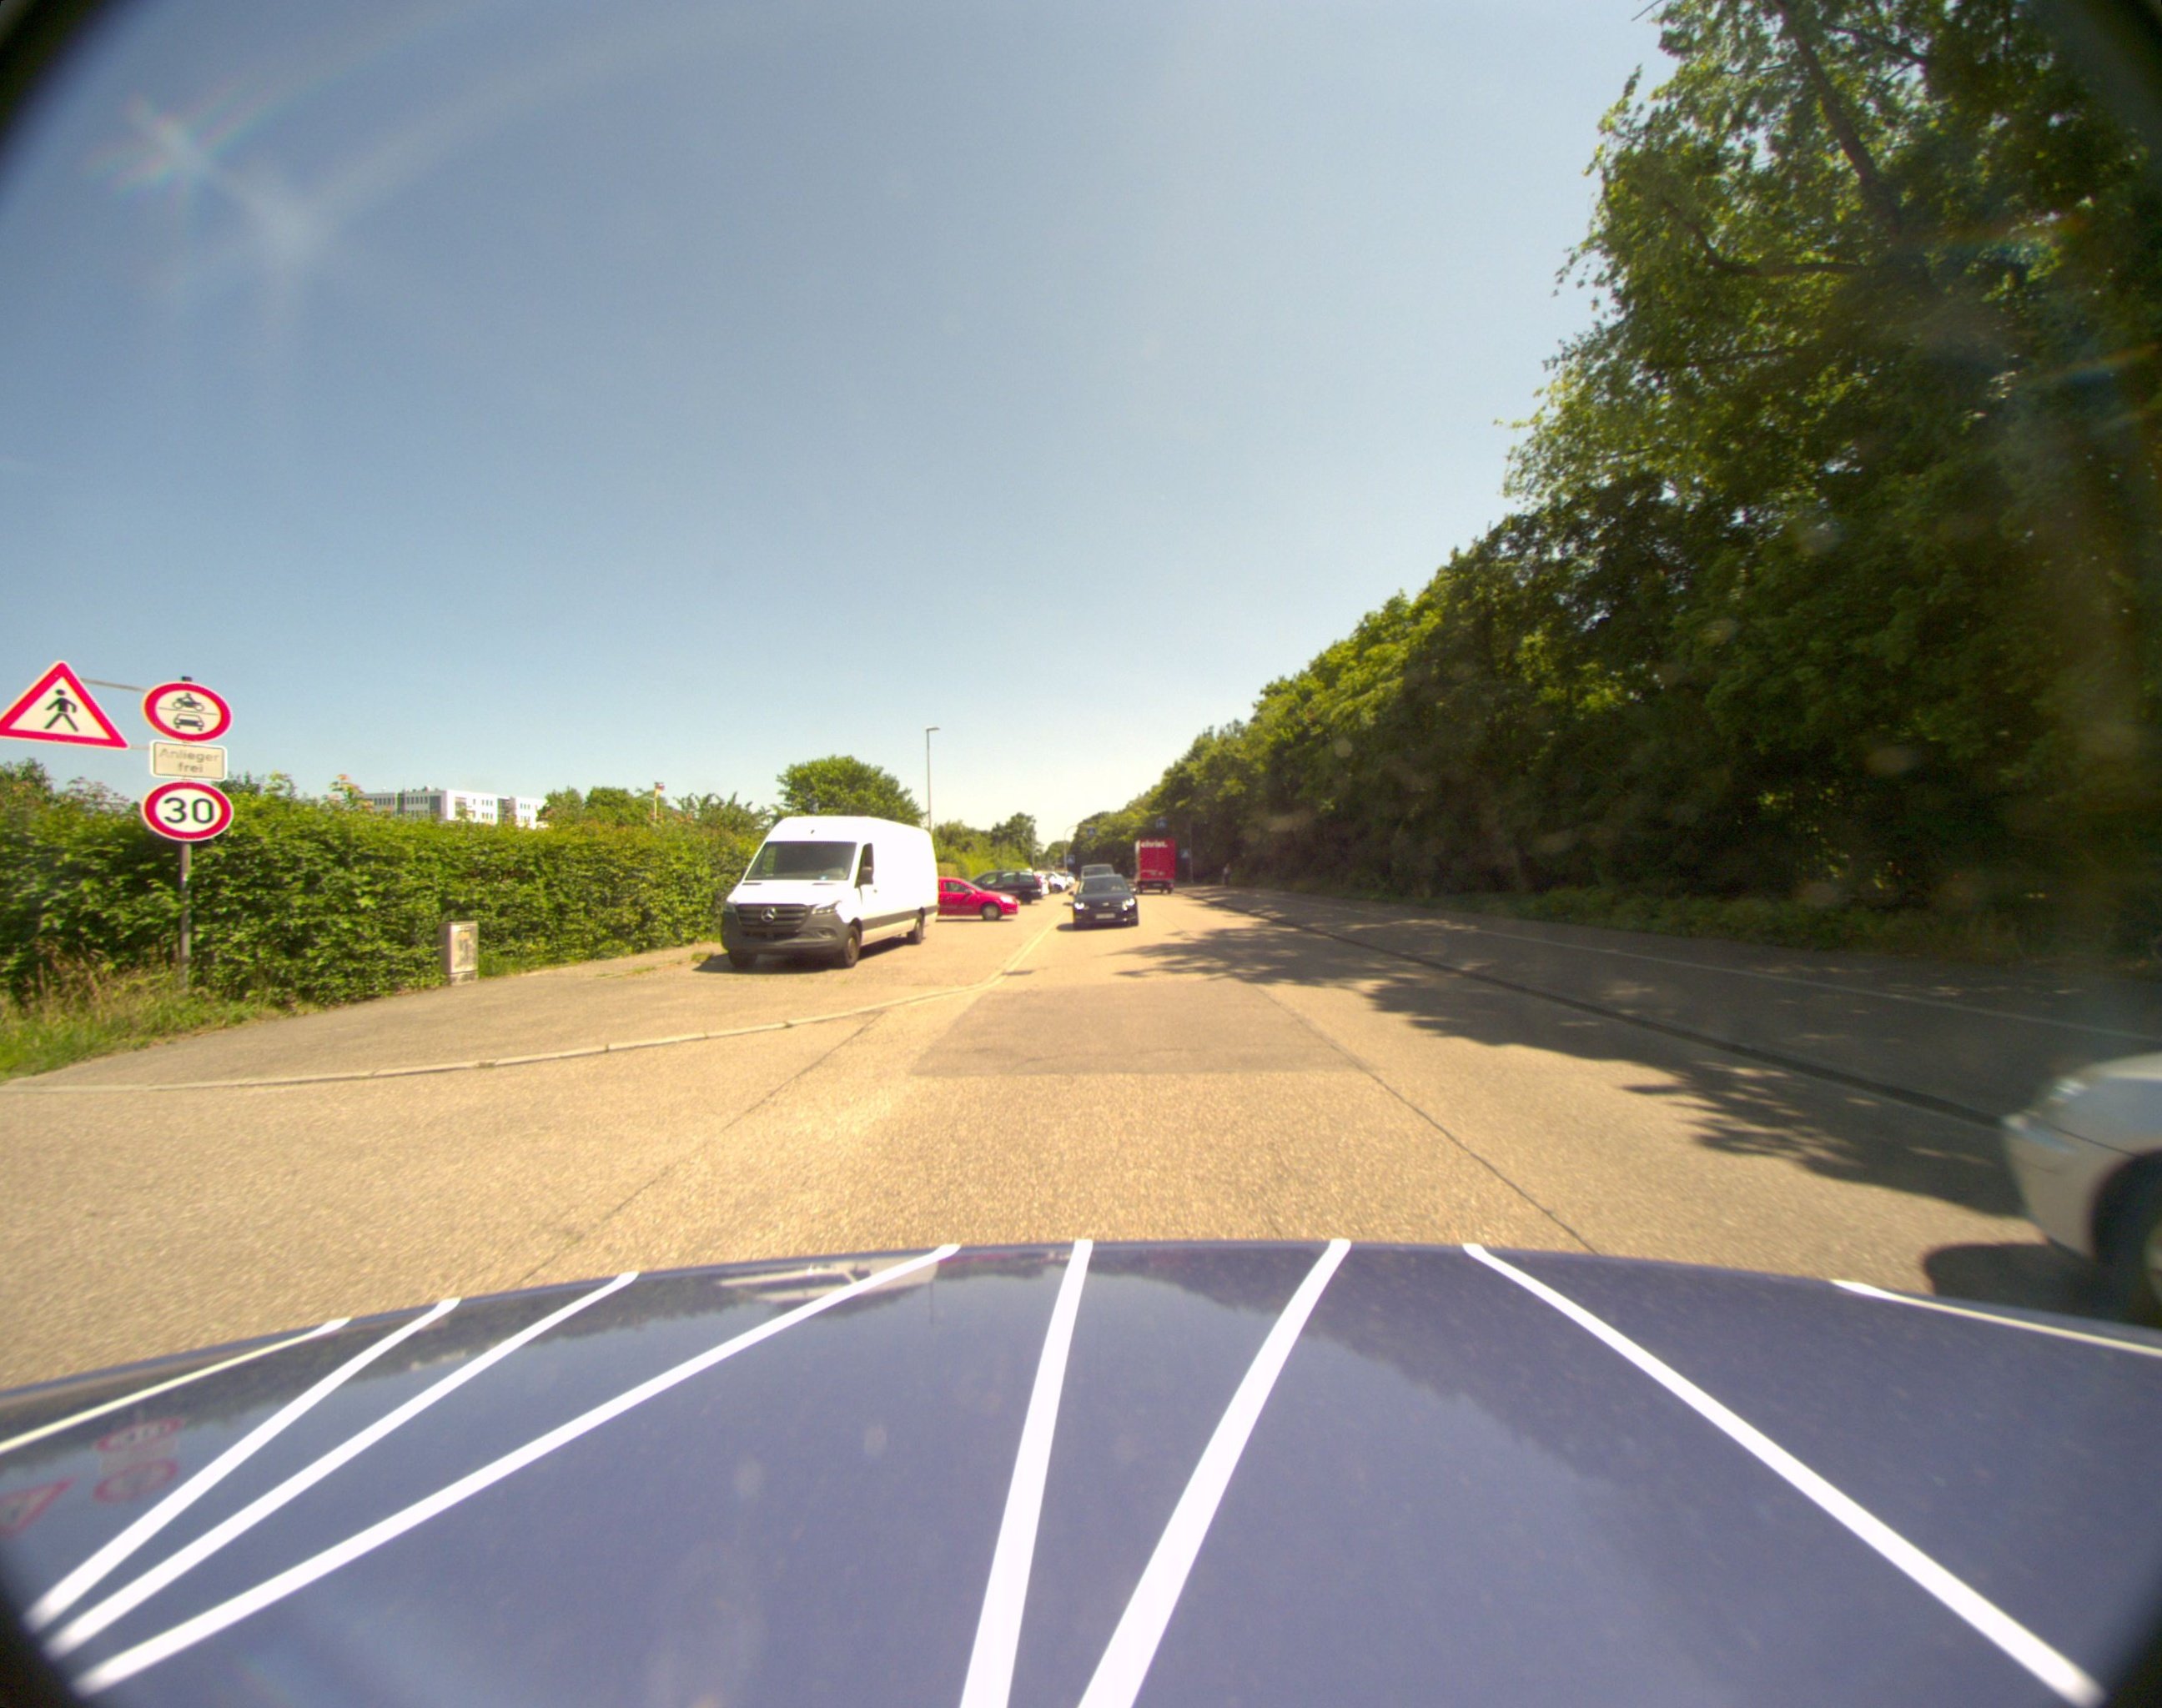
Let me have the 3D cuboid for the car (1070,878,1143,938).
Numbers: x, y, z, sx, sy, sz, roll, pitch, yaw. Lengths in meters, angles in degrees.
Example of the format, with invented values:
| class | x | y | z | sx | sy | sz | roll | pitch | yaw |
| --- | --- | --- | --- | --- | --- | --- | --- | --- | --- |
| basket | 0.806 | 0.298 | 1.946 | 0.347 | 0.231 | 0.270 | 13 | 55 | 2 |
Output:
| class | x | y | z | sx | sy | sz | roll | pitch | yaw |
| --- | --- | --- | --- | --- | --- | --- | --- | --- | --- |
| car | 0.603 | 1.398 | 21.052 | 1.743 | 1.396 | 4.389 | -3 | -2 | -1 |

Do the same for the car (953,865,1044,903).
| class | x | y | z | sx | sy | sz | roll | pitch | yaw |
| --- | --- | --- | --- | --- | --- | --- | --- | --- | --- |
| car | -4.125 | 1.494 | 38.531 | 4.465 | 1.794 | 1.952 | 1 | -1 | -3 |

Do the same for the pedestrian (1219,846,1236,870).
| class | x | y | z | sx | sy | sz | roll | pitch | yaw |
| --- | --- | --- | --- | --- | --- | --- | --- | --- | --- |
| pedestrian | 10.000 | 0.288 | 51.863 | 0.934 | 1.603 | 0.886 | -2 | -1 | 0 |

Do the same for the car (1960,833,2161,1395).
| class | x | y | z | sx | sy | sz | roll | pitch | yaw |
| --- | --- | --- | --- | --- | --- | --- | --- | --- | --- |
| car | 3.835 | 0.660 | 0.422 | 1.796 | 1.563 | 4.274 | -1 | -2 | 2 |

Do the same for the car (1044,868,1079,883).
| class | x | y | z | sx | sy | sz | roll | pitch | yaw |
| --- | --- | --- | --- | --- | --- | --- | --- | --- | --- |
| car | -2.264 | 2.521 | 88.642 | 4.036 | 1.632 | 1.674 | 1 | -1 | 0 |

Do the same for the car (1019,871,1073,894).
| class | x | y | z | sx | sy | sz | roll | pitch | yaw |
| --- | --- | --- | --- | --- | --- | --- | --- | --- | --- |
| car | -2.664 | 2.141 | 57.104 | 3.974 | 1.513 | 1.864 | 2 | -2 | -4 |

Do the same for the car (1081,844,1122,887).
| class | x | y | z | sx | sy | sz | roll | pitch | yaw |
| --- | --- | --- | --- | --- | --- | --- | --- | --- | --- |
| car | 0.933 | 0.613 | 37.230 | 1.743 | 1.904 | 4.389 | -2 | -2 | -1 |

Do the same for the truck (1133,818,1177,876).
| class | x | y | z | sx | sy | sz | roll | pitch | yaw |
| --- | --- | --- | --- | --- | --- | --- | --- | --- | --- |
| truck | 4.704 | -0.341 | 49.421 | 2.328 | 3.419 | 7.164 | 2 | -2 | 2 |

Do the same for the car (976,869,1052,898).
| class | x | y | z | sx | sy | sz | roll | pitch | yaw |
| --- | --- | --- | --- | --- | --- | --- | --- | --- | --- |
| car | -3.875 | 1.730 | 44.736 | 4.287 | 1.568 | 1.766 | 1 | -2 | -1 |

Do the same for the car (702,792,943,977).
| class | x | y | z | sx | sy | sz | roll | pitch | yaw |
| --- | --- | --- | --- | --- | --- | --- | --- | --- | --- |
| car | -4.513 | 0.568 | 14.935 | 1.959 | 2.716 | 7.171 | 1 | -2 | 2 |

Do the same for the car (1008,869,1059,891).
| class | x | y | z | sx | sy | sz | roll | pitch | yaw |
| --- | --- | --- | --- | --- | --- | --- | --- | --- | --- |
| car | -3.386 | 1.876 | 54.199 | 3.395 | 1.494 | 1.589 | 1 | -2 | 4 |

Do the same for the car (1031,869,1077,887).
| class | x | y | z | sx | sy | sz | roll | pitch | yaw |
| --- | --- | --- | --- | --- | --- | --- | --- | --- | --- |
| car | -2.717 | 2.356 | 76.039 | 4.464 | 1.719 | 1.851 | 1 | -1 | 1 |

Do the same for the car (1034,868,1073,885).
| class | x | y | z | sx | sy | sz | roll | pitch | yaw |
| --- | --- | --- | --- | --- | --- | --- | --- | --- | --- |
| car | -2.822 | 2.339 | 78.871 | 3.982 | 1.675 | 1.767 | 0 | -1 | 0 |

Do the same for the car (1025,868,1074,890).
| class | x | y | z | sx | sy | sz | roll | pitch | yaw |
| --- | --- | --- | --- | --- | --- | --- | --- | --- | --- |
| car | -2.591 | 2.105 | 63.026 | 3.971 | 1.630 | 1.664 | 2 | -2 | -3 |

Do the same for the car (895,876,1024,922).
| class | x | y | z | sx | sy | sz | roll | pitch | yaw |
| --- | --- | --- | --- | --- | --- | --- | --- | --- | --- |
| car | -4.036 | 1.486 | 25.717 | 4.064 | 1.425 | 1.836 | 1 | -2 | -1 |
